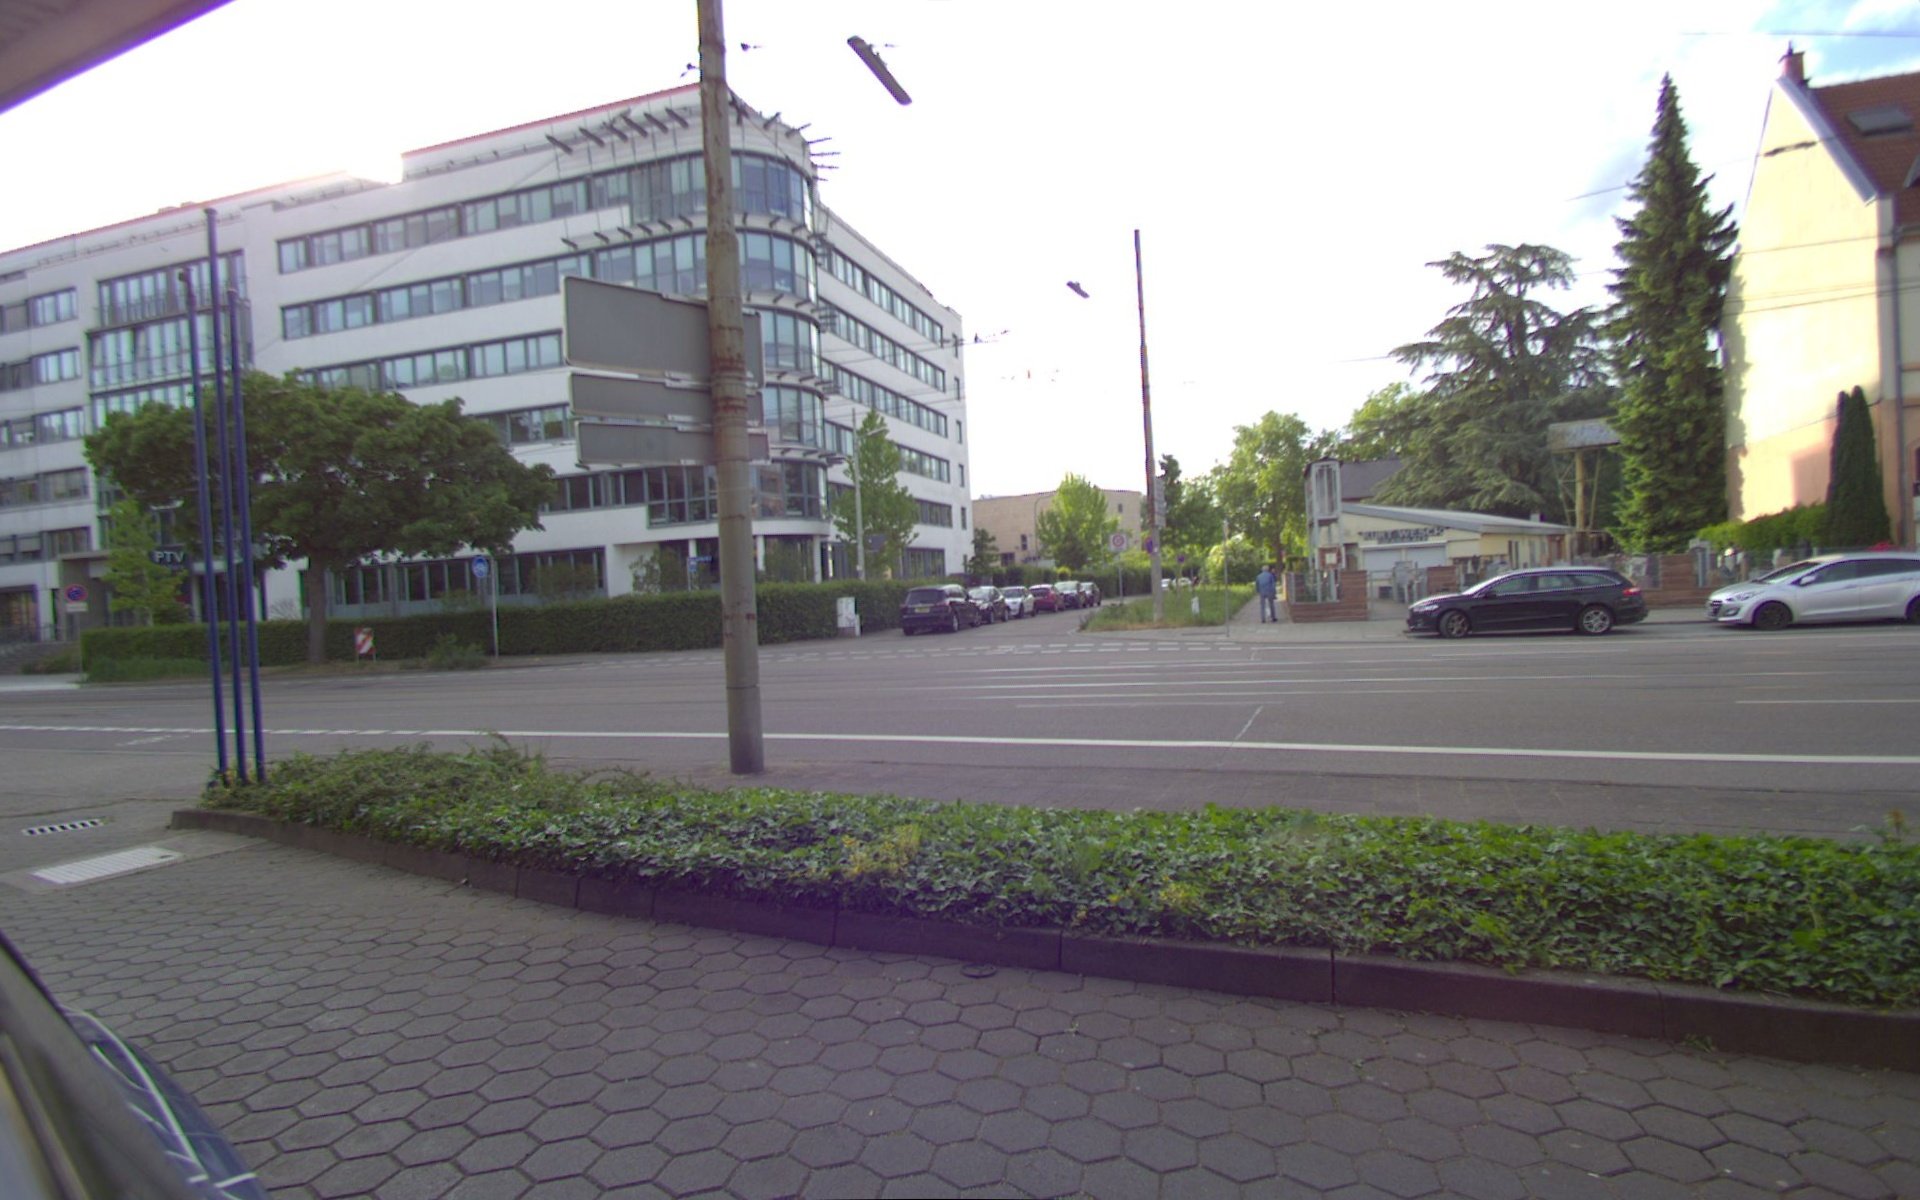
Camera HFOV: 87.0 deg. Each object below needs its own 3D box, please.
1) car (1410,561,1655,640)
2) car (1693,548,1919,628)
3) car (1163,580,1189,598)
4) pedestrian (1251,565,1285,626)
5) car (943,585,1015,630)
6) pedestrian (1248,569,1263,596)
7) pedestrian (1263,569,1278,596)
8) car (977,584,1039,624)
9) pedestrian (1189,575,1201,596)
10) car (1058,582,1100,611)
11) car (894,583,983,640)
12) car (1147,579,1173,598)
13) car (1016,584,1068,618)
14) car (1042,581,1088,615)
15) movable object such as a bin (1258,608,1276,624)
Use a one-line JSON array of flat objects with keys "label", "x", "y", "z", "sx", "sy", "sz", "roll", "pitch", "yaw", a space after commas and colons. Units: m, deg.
[{"label": "car", "x": 13.018, "y": 0.009, "z": 23.370, "sx": 4.632, "sy": 1.533, "sz": 1.842, "roll": -3, "pitch": 2, "yaw": 22}, {"label": "car", "x": 18.411, "y": -0.266, "z": 21.399, "sx": 4.349, "sy": 1.493, "sz": 1.732, "roll": -3, "pitch": 1, "yaw": 22}, {"label": "car", "x": 22.841, "y": -1.179, "z": 106.856, "sx": 1.813, "sy": 1.654, "sz": 4.040, "roll": -4, "pitch": 0, "yaw": 25}, {"label": "pedestrian", "x": 9.130, "y": -0.139, "z": 29.983, "sx": 0.903, "sy": 1.711, "sz": 0.920, "roll": -1, "pitch": 6, "yaw": 20}, {"label": "car", "x": 0.836, "y": 0.265, "z": 40.984, "sx": 1.807, "sy": 1.589, "sz": 4.175, "roll": -4, "pitch": 0, "yaw": 16}, {"label": "pedestrian", "x": 21.389, "y": -1.278, "z": 73.254, "sx": 0.965, "sy": 1.896, "sz": 1.056, "roll": -1, "pitch": 0, "yaw": 17}, {"label": "pedestrian", "x": 22.401, "y": -1.264, "z": 72.951, "sx": 0.965, "sy": 1.896, "sz": 1.056, "roll": -1, "pitch": 0, "yaw": 17}, {"label": "car", "x": 2.229, "y": 0.145, "z": 45.688, "sx": 1.807, "sy": 1.589, "sz": 4.175, "roll": -4, "pitch": 0, "yaw": 16}, {"label": "pedestrian", "x": 21.937, "y": -1.328, "z": 94.395, "sx": 0.966, "sy": 1.896, "sz": 1.055, "roll": -1, "pitch": 0, "yaw": 20}, {"label": "car", "x": 7.391, "y": -0.225, "z": 62.573, "sx": 1.807, "sy": 1.585, "sz": 4.052, "roll": -4, "pitch": 0, "yaw": 16}, {"label": "car", "x": -0.682, "y": 0.353, "z": 35.569, "sx": 1.807, "sy": 1.701, "sz": 4.370, "roll": -4, "pitch": 1, "yaw": 16}, {"label": "car", "x": 19.964, "y": -1.157, "z": 100.909, "sx": 1.811, "sy": 1.654, "sz": 4.044, "roll": -4, "pitch": 0, "yaw": 22}, {"label": "car", "x": 4.305, "y": 0.014, "z": 52.410, "sx": 1.807, "sy": 1.589, "sz": 4.175, "roll": -4, "pitch": 0, "yaw": 16}, {"label": "car", "x": 6.036, "y": -0.146, "z": 57.807, "sx": 1.807, "sy": 1.704, "sz": 4.392, "roll": -4, "pitch": 0, "yaw": 16}, {"label": "movable object such as a bin", "x": 9.348, "y": 0.486, "z": 30.813, "sx": 0.362, "sy": 0.397, "sz": 0.662, "roll": -3, "pitch": 4, "yaw": 5}]
